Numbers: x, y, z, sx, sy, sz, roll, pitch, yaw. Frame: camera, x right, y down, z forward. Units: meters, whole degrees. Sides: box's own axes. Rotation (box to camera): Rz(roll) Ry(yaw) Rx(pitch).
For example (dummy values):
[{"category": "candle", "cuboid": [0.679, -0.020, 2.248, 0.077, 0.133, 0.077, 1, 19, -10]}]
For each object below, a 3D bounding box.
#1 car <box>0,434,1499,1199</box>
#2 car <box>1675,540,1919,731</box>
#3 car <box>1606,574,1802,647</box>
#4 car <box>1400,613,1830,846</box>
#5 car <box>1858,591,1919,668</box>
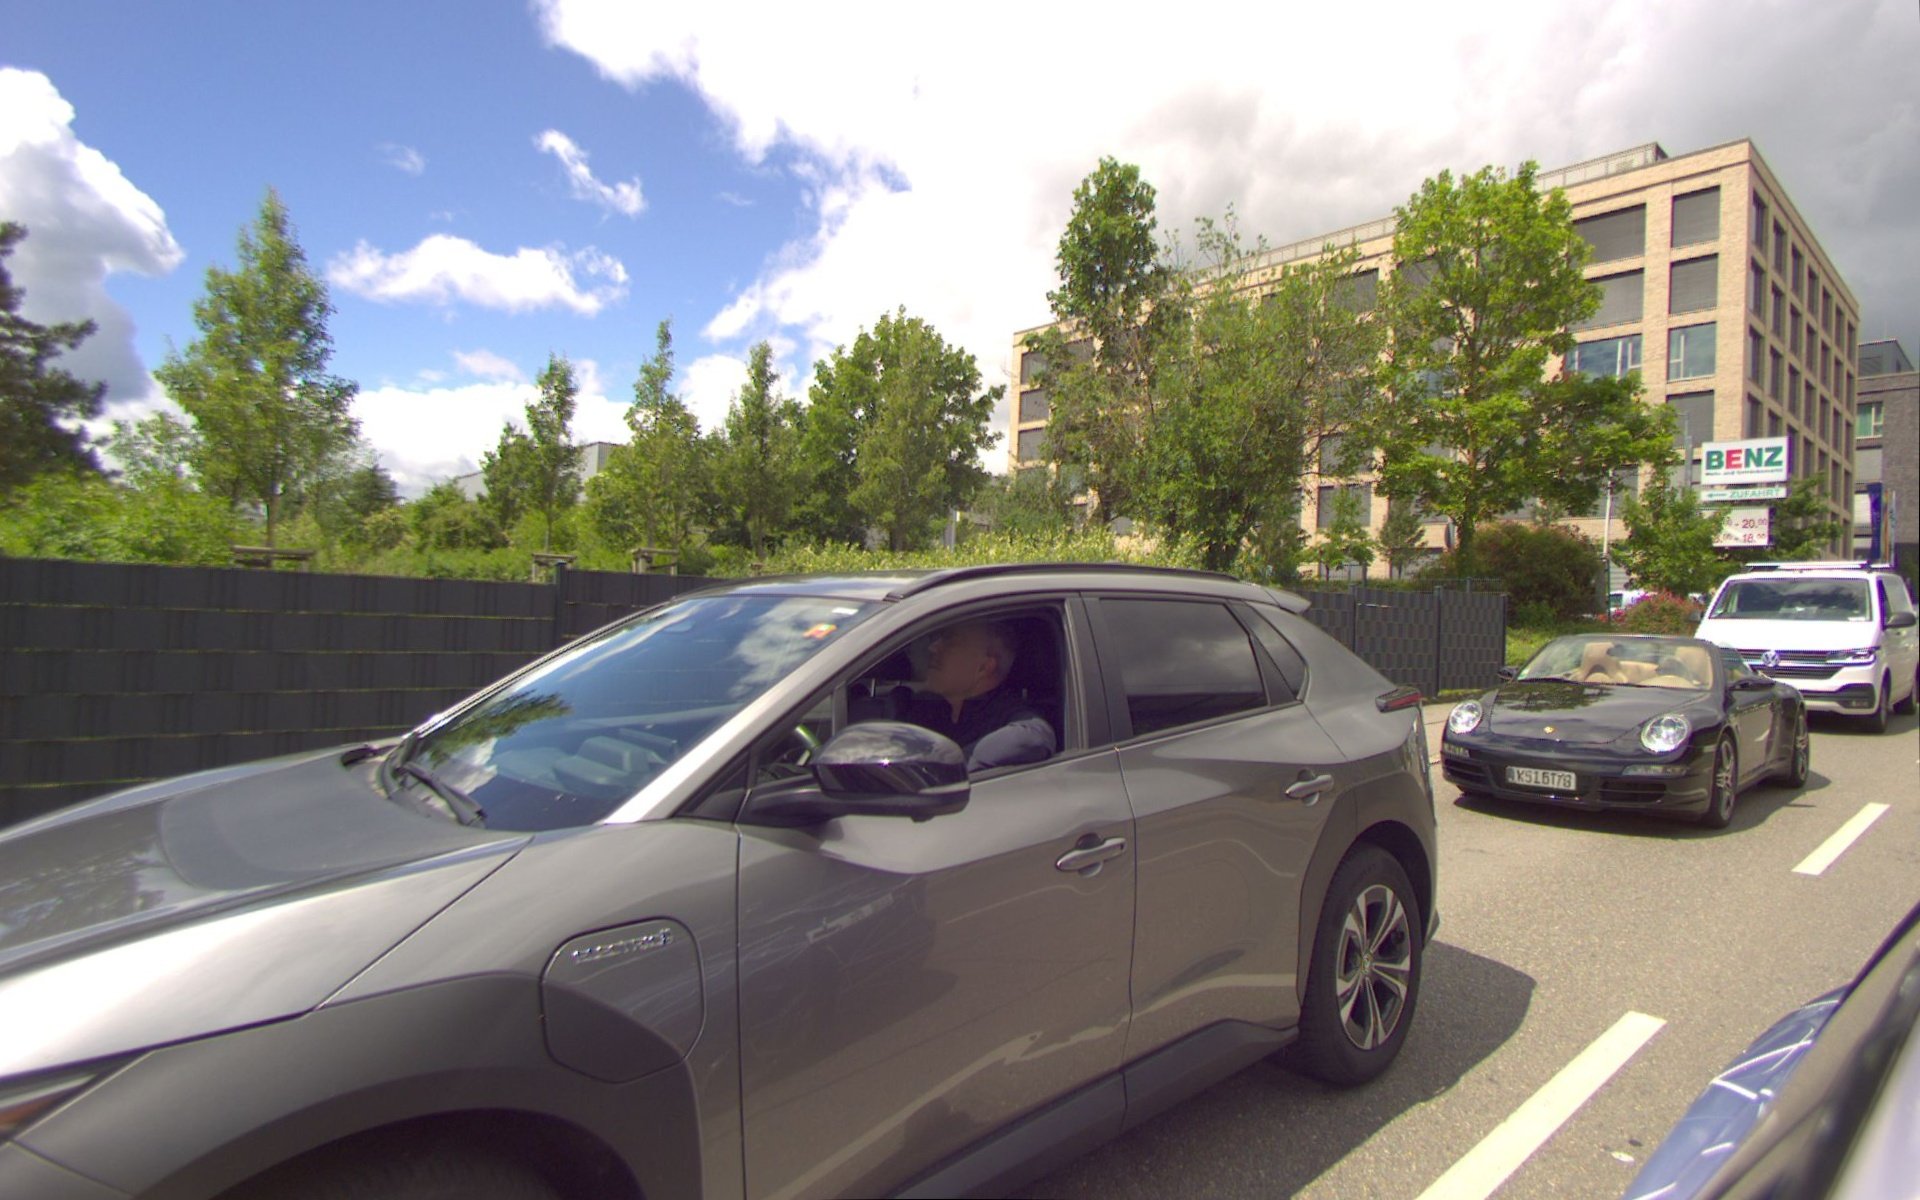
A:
[{"category": "car", "cuboid": [-0.378, 0.629, 2.949, 4.501, 1.649, 1.997, 0, 1, -42]}, {"category": "car", "cuboid": [11.346, 0.375, 13.345, 4.677, 2.075, 2.087, 0, 0, -41]}, {"category": "car", "cuboid": [19.900, 0.217, 27.174, 1.793, 1.754, 3.991, 0, 2, -44]}, {"category": "car", "cuboid": [5.298, 0.792, 7.984, 3.967, 1.310, 1.823, 0, 0, -41]}, {"category": "car", "cuboid": [20.250, 0.581, 21.066, 3.930, 1.481, 1.817, 0, 2, -41]}]
